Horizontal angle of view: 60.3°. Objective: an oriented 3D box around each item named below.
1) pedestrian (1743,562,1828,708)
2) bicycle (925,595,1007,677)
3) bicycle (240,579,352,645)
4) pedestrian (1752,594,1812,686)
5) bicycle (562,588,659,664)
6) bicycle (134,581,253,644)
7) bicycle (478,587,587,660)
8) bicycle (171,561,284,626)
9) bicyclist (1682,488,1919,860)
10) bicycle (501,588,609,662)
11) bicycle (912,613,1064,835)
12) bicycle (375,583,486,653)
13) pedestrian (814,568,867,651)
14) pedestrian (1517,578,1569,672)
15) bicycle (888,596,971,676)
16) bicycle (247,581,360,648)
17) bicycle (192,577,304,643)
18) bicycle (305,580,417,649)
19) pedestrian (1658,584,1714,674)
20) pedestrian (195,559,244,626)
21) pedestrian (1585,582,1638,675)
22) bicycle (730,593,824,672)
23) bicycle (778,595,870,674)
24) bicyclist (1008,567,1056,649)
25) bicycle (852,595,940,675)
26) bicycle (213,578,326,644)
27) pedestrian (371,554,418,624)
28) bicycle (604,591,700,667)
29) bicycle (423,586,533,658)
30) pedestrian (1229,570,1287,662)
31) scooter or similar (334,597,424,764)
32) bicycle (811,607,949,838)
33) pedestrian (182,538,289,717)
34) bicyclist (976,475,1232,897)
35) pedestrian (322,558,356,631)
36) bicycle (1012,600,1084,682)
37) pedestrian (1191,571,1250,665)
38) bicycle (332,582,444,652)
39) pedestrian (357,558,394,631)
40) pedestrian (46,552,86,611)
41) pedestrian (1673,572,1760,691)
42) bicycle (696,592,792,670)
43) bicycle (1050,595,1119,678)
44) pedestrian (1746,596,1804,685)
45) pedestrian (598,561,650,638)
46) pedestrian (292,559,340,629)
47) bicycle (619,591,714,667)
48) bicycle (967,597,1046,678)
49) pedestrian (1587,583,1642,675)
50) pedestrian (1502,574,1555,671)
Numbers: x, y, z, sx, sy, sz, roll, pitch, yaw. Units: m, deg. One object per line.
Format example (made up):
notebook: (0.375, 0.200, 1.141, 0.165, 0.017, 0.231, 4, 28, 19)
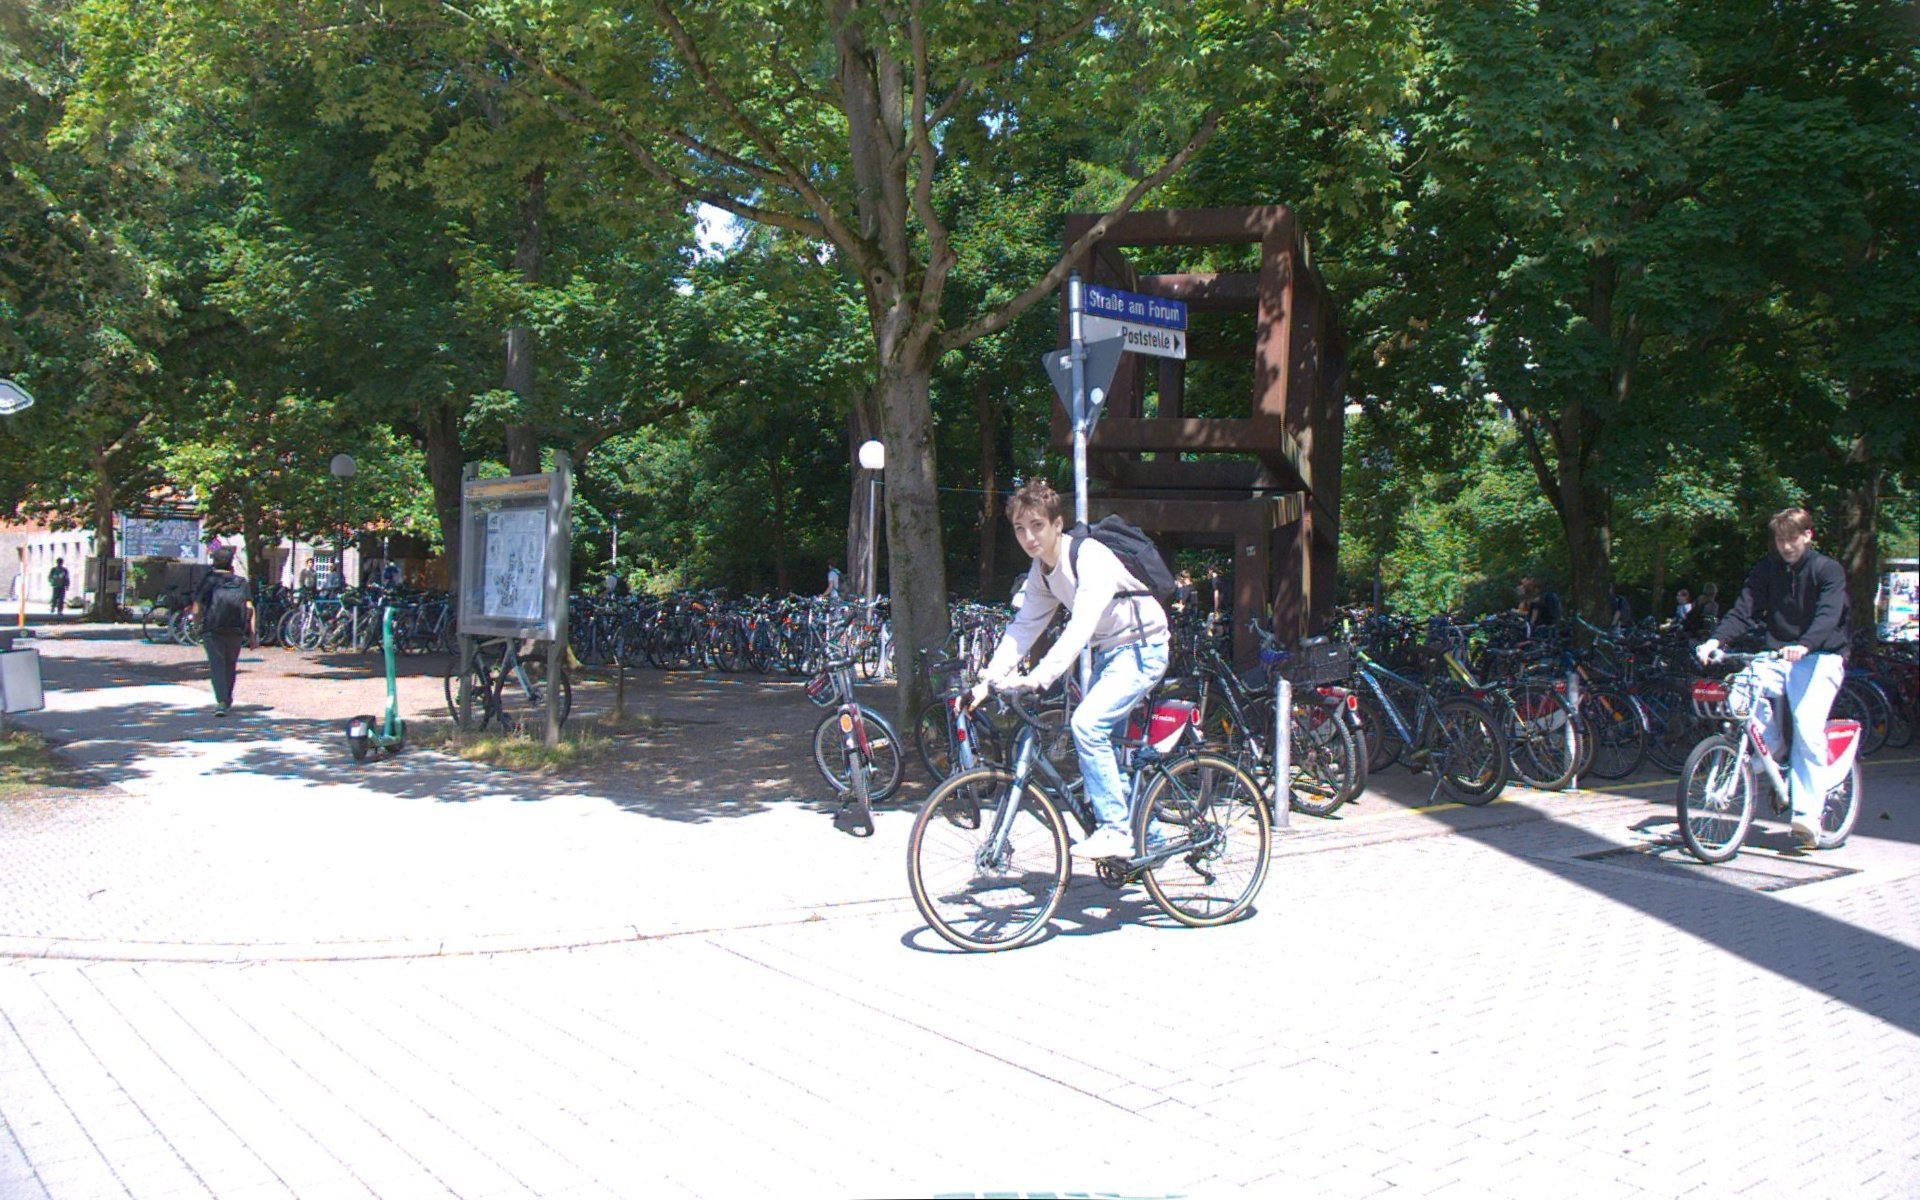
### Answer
pedestrian: (10.751, 0.442, 21.560, 0.751, 1.838, 0.710, 2, 0, 9)
bicycle: (0.107, 0.519, 24.332, 0.491, 1.127, 1.906, 3, 0, 22)
bicycle: (-11.753, 0.217, 29.338, 0.491, 1.127, 2.029, 3, 0, 25)
pedestrian: (15.932, 0.762, 32.063, 0.885, 1.709, 0.770, 2, 0, 19)
bicycle: (-5.522, 0.407, 26.241, 0.491, 1.127, 2.031, 3, 0, 19)
bicycle: (-14.322, 0.240, 30.955, 0.492, 1.127, 2.024, 3, 0, 33)
bicycle: (-6.923, 0.378, 26.899, 0.491, 1.127, 2.029, 3, 0, 25)
bicycle: (-13.374, -0.108, 30.274, 0.491, 1.127, 2.029, 3, 0, 25)
bicyclist: (4.609, 0.389, 9.025, 0.953, 1.920, 0.670, 3, 1, -23)
bicycle: (-6.483, 0.404, 26.596, 0.491, 1.127, 2.029, 3, 0, 25)
bicycle: (0.128, 0.669, 9.723, 0.577, 1.127, 1.742, 0, 1, -10)
bicycle: (-8.936, 0.310, 27.994, 0.491, 1.127, 2.029, 3, 0, 25)
pedestrian: (-2.657, 0.205, 36.854, 0.762, 1.805, 0.895, 2, 0, -37)
pedestrian: (11.522, 0.483, 32.698, 0.885, 1.805, 0.770, 2, 0, 19)
bicycle: (-0.433, 0.527, 24.670, 0.491, 1.127, 1.906, 3, 0, 22)
bicycle: (-11.540, 0.257, 29.140, 0.491, 1.127, 2.029, 3, 0, 25)
bicycle: (-12.916, 0.188, 30.065, 0.491, 1.127, 2.029, 3, 0, 25)
bicycle: (-10.285, 0.250, 28.463, 0.491, 1.127, 2.029, 3, 0, 25)
pedestrian: (14.214, 0.560, 32.410, 0.885, 1.709, 0.770, 2, 0, 19)
pedestrian: (-20.464, -0.211, 45.710, 0.770, 1.805, 0.917, 2, 0, 34)
pedestrian: (12.972, 0.557, 32.960, 0.885, 1.805, 0.770, 2, 0, 19)
bicycle: (-2.755, 0.482, 25.141, 0.491, 1.127, 2.005, 3, 0, 22)
bicycle: (-2.033, 0.513, 24.960, 0.491, 1.127, 2.005, 3, 0, 22)
bicyclist: (1.463, 0.160, 33.405, 0.706, 1.595, 0.594, 3, 0, 32)
bicycle: (-0.938, 0.515, 24.831, 0.491, 1.127, 2.005, 3, 0, 22)
bicycle: (-12.378, 0.204, 29.704, 0.491, 1.127, 2.029, 3, 0, 25)
pedestrian: (-15.222, -0.304, 44.550, 0.889, 1.833, 0.767, 2, 0, 35)
bicycle: (-4.812, 0.446, 25.988, 0.491, 1.127, 2.031, 3, 0, 19)
bicycle: (-7.967, 0.364, 27.418, 0.491, 1.127, 2.029, 3, 0, 25)
pedestrian: (6.081, 0.324, 33.736, 0.887, 1.805, 0.768, 2, 0, 30)
scooter or similar: (-4.444, 0.586, 12.703, 0.286, 1.215, 1.185, 1, 0, -2)
bicycle: (-0.496, 0.654, 9.601, 0.625, 1.179, 1.626, 0, 1, -9)
pedestrian: (-7.154, 0.260, 16.334, 0.721, 1.713, 0.861, 1, 0, -41)
bicyclist: (0.565, 0.314, 6.681, 0.857, 1.600, 0.638, 0, 2, -15)
pedestrian: (-15.506, -0.143, 41.296, 0.659, 1.802, 0.500, 3, 1, 42)
bicycle: (1.299, 0.576, 24.098, 0.491, 1.127, 1.907, 3, 0, 19)
pedestrian: (5.160, 0.352, 32.765, 0.887, 1.805, 0.768, 2, 0, 29)
bicycle: (-9.730, 0.289, 28.195, 0.491, 1.127, 2.029, 3, 0, 25)
pedestrian: (-14.781, -0.134, 41.821, 0.605, 1.805, 0.648, 2, 0, -45)
pedestrian: (-28.322, -0.589, 52.403, 0.889, 1.805, 0.767, 2, 0, 35)
pedestrian: (11.369, 0.459, 24.874, 0.886, 1.732, 0.770, 2, 0, 0)
bicycle: (-3.290, 0.459, 25.372, 0.491, 1.127, 2.005, 3, 0, 22)
bicycle: (1.827, 0.518, 23.996, 0.491, 1.127, 1.907, 3, 0, 19)
pedestrian: (16.166, 0.790, 32.825, 0.885, 1.709, 0.770, 2, 0, 19)
pedestrian: (-8.169, -0.011, 40.211, 0.889, 1.805, 0.767, 2, 0, 35)
pedestrian: (-17.067, -0.151, 43.864, 0.889, 1.805, 0.767, 2, 0, 35)
bicycle: (-4.567, 0.447, 25.897, 0.491, 1.127, 2.031, 3, 0, 19)
bicycle: (0.703, 0.535, 24.400, 0.491, 1.127, 1.906, 3, 0, 22)
pedestrian: (12.685, 0.552, 32.084, 0.885, 1.709, 0.770, 2, 0, 19)
pedestrian: (10.967, 0.424, 31.922, 0.885, 1.805, 0.770, 2, 0, 19)
